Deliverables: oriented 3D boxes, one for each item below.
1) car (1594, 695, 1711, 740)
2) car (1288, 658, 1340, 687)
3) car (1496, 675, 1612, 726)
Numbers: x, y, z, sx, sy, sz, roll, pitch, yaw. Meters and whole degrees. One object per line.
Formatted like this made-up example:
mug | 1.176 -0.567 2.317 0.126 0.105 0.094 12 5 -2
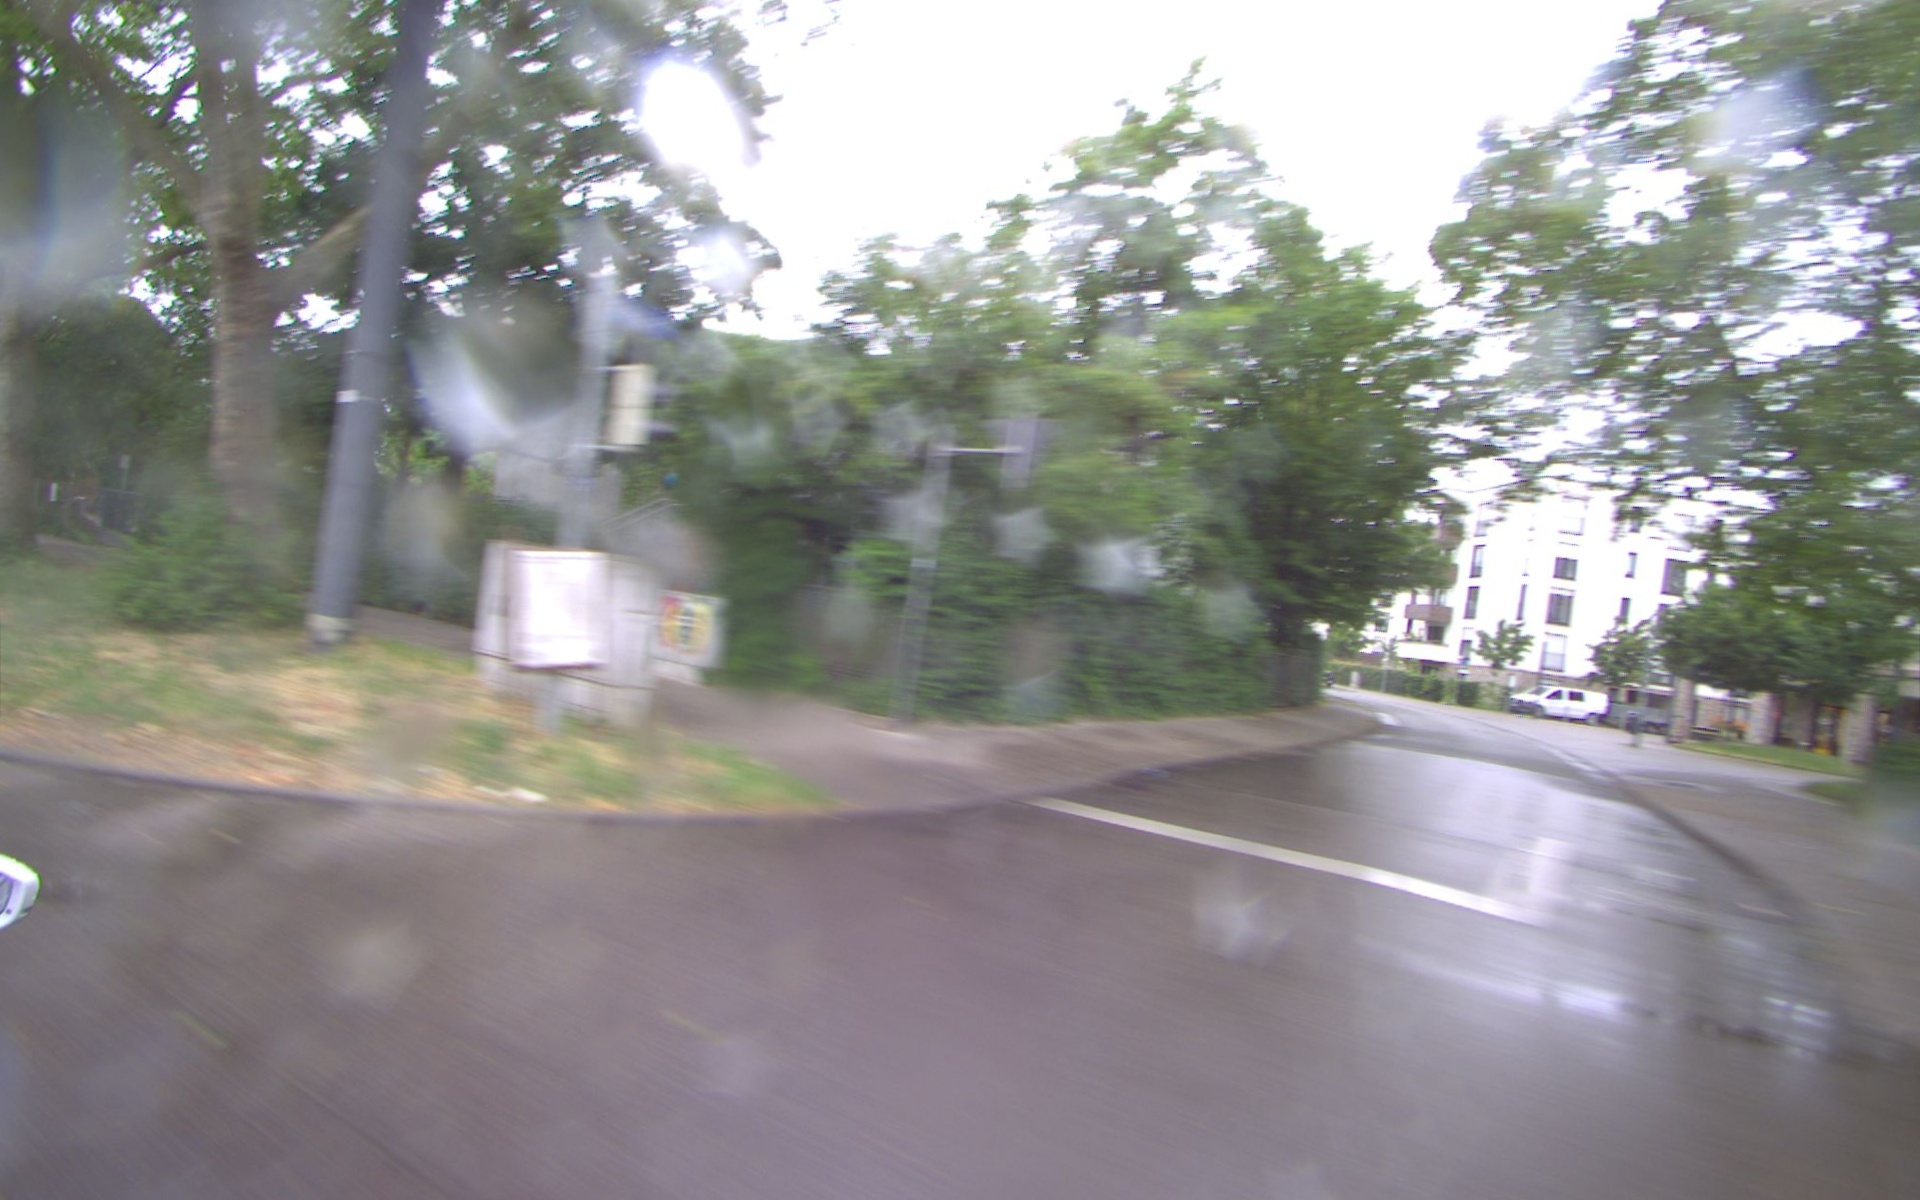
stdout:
car | 39.480 6.660 57.441 5.045 1.722 2.256 8 -2 -2
car | 23.857 4.885 67.939 1.963 1.592 4.003 8 -2 1
car | 33.499 5.656 56.835 5.045 2.037 2.256 8 -1 -2
